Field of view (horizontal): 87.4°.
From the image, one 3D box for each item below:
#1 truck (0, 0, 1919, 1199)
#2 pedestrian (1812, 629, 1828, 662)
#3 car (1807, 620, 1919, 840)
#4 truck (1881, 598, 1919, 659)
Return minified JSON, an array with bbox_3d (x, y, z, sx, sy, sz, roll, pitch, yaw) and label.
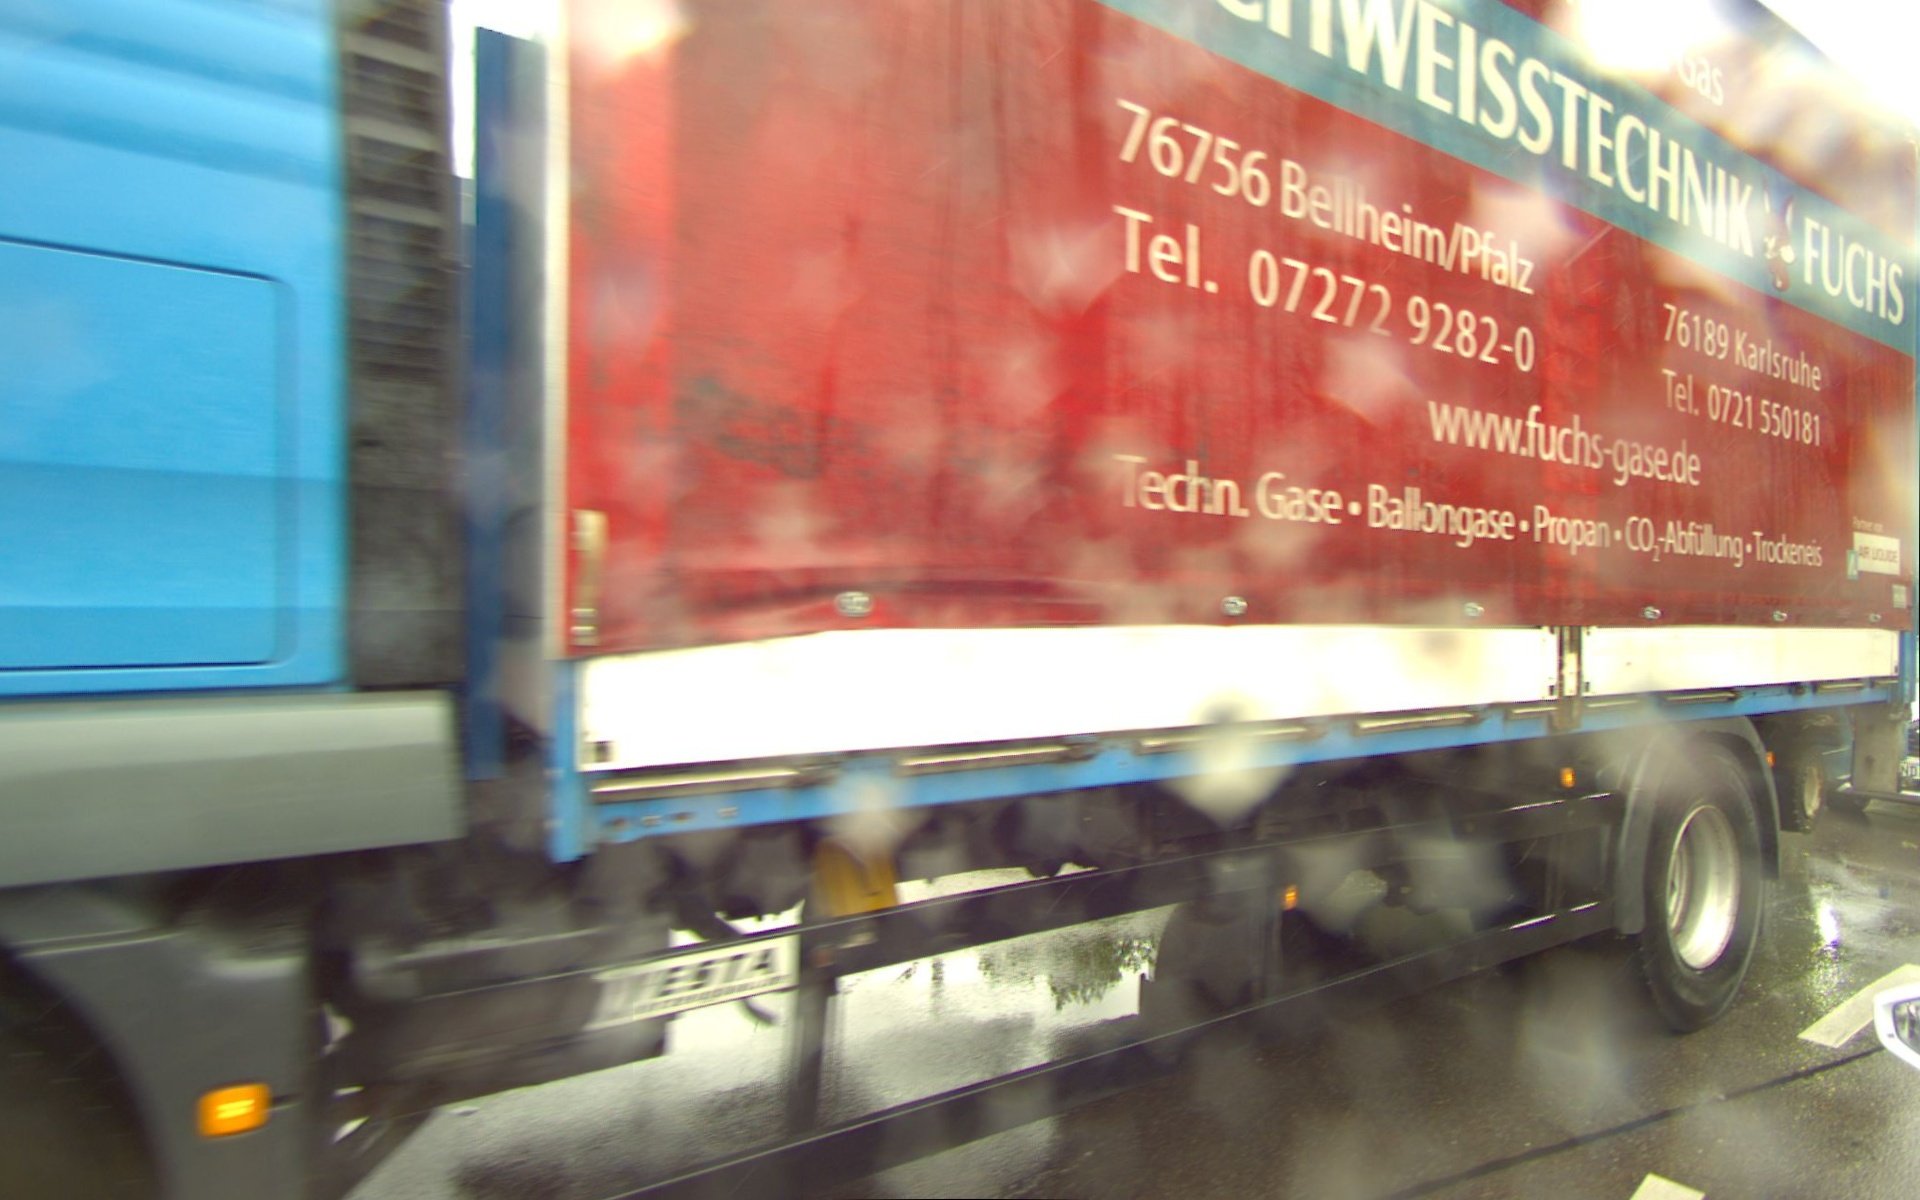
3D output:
[{"bbox_3d":[0.370,-0.538,3.684,10.200,4.078,2.831,2,-2,-32],"label":"truck"},{"bbox_3d":[43.552,2.317,50.868,0.637,1.650,0.563,2,-1,-44],"label":"pedestrian"},{"bbox_3d":[8.930,1.015,8.288,3.952,1.625,1.734,2,-1,-30],"label":"car"},{"bbox_3d":[59.466,1.733,60.426,2.146,3.693,5.665,2,-1,-25],"label":"truck"}]
